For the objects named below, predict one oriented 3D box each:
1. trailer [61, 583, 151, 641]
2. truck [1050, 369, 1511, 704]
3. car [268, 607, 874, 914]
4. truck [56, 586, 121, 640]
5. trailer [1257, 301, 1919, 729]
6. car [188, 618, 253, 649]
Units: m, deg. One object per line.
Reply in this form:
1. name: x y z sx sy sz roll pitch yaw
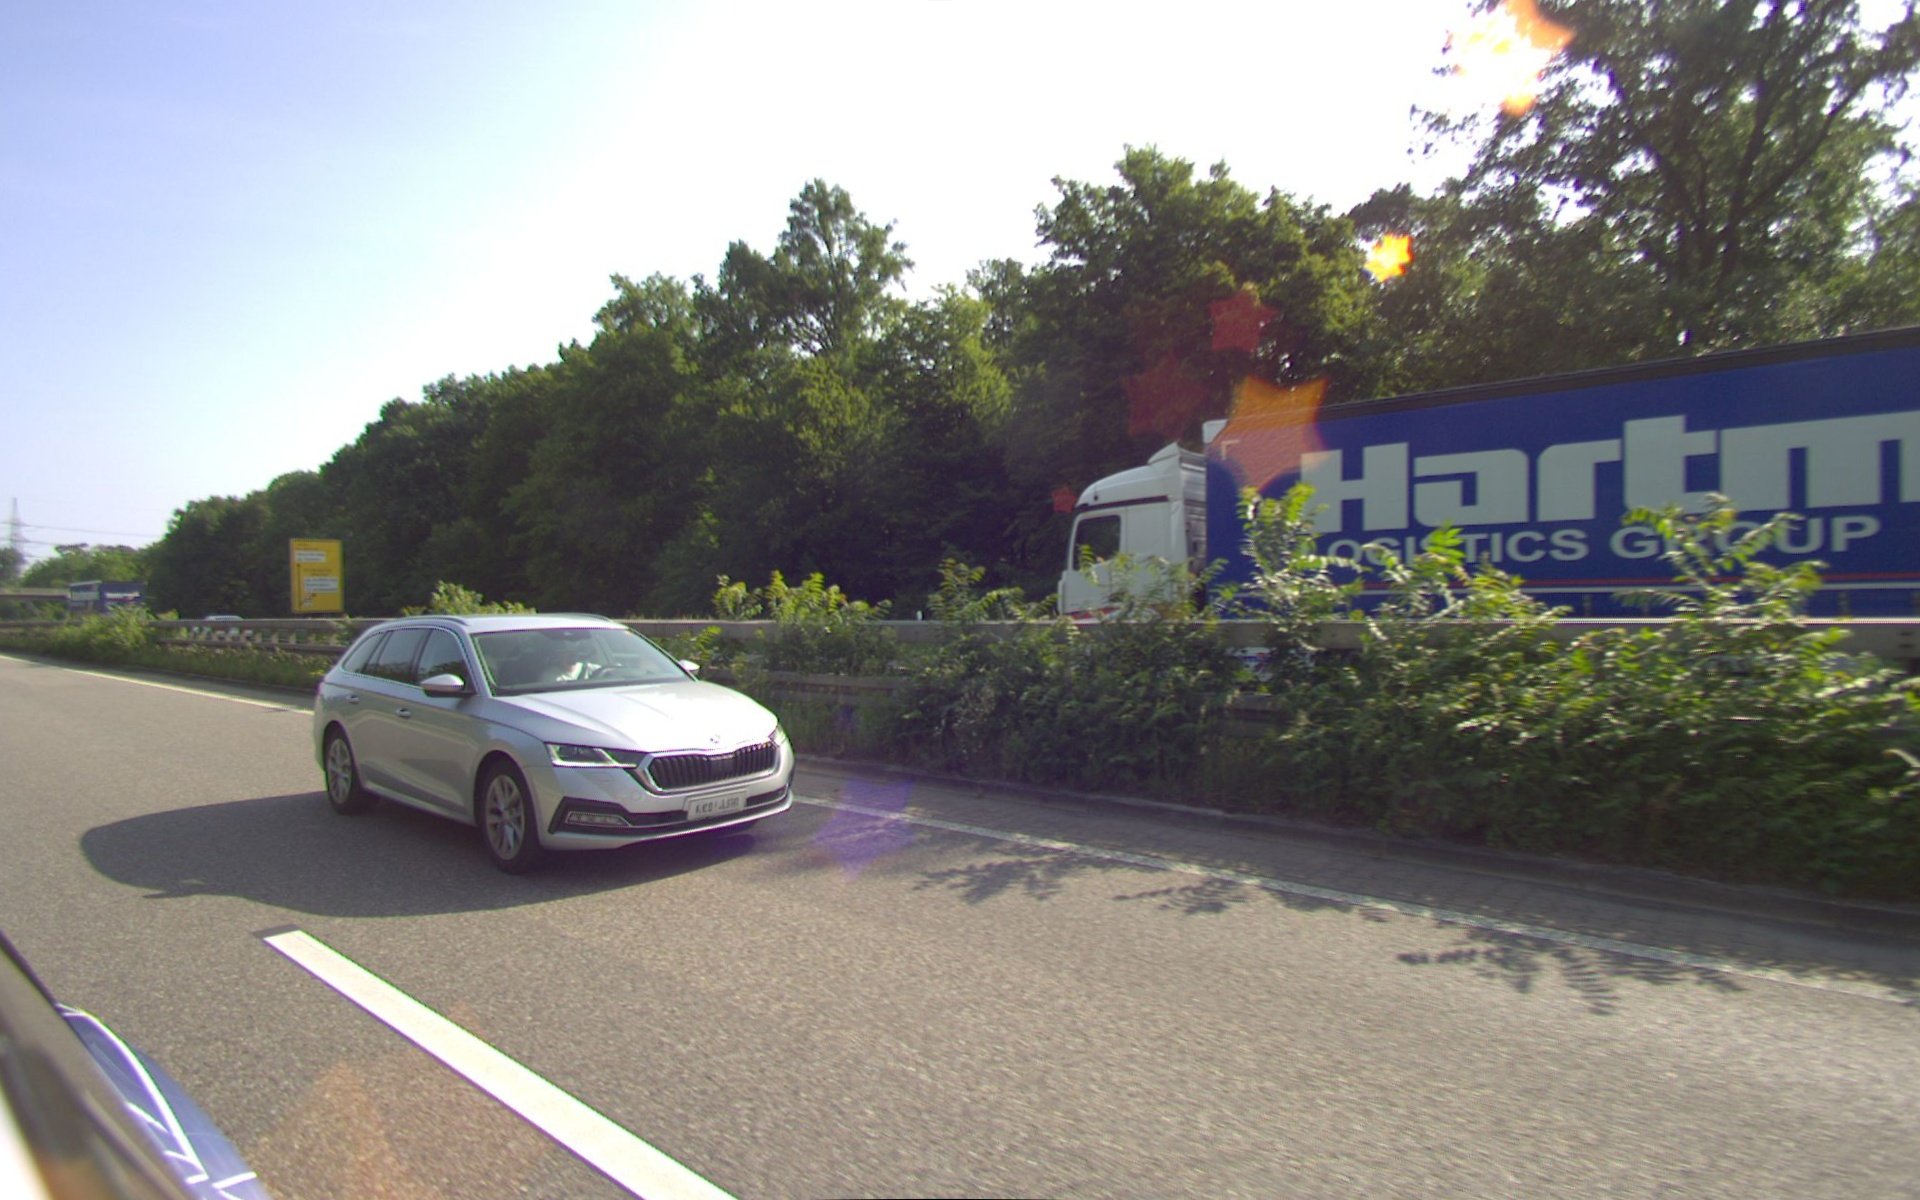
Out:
1. trailer: -64.817 0.990 76.664 14.307 4.101 2.935 -1 -2 41
2. truck: 4.631 -0.689 15.300 6.022 4.063 2.862 -1 -2 41
3. car: -3.085 0.812 7.201 5.275 1.449 1.774 -1 -1 41
4. truck: -69.364 1.059 80.512 6.560 4.101 2.936 -1 -2 41
5. trailer: 10.018 -0.770 10.587 13.316 4.039 2.862 -1 -2 41
6. car: -39.176 1.761 53.604 4.808 1.476 1.733 -1 1 41
